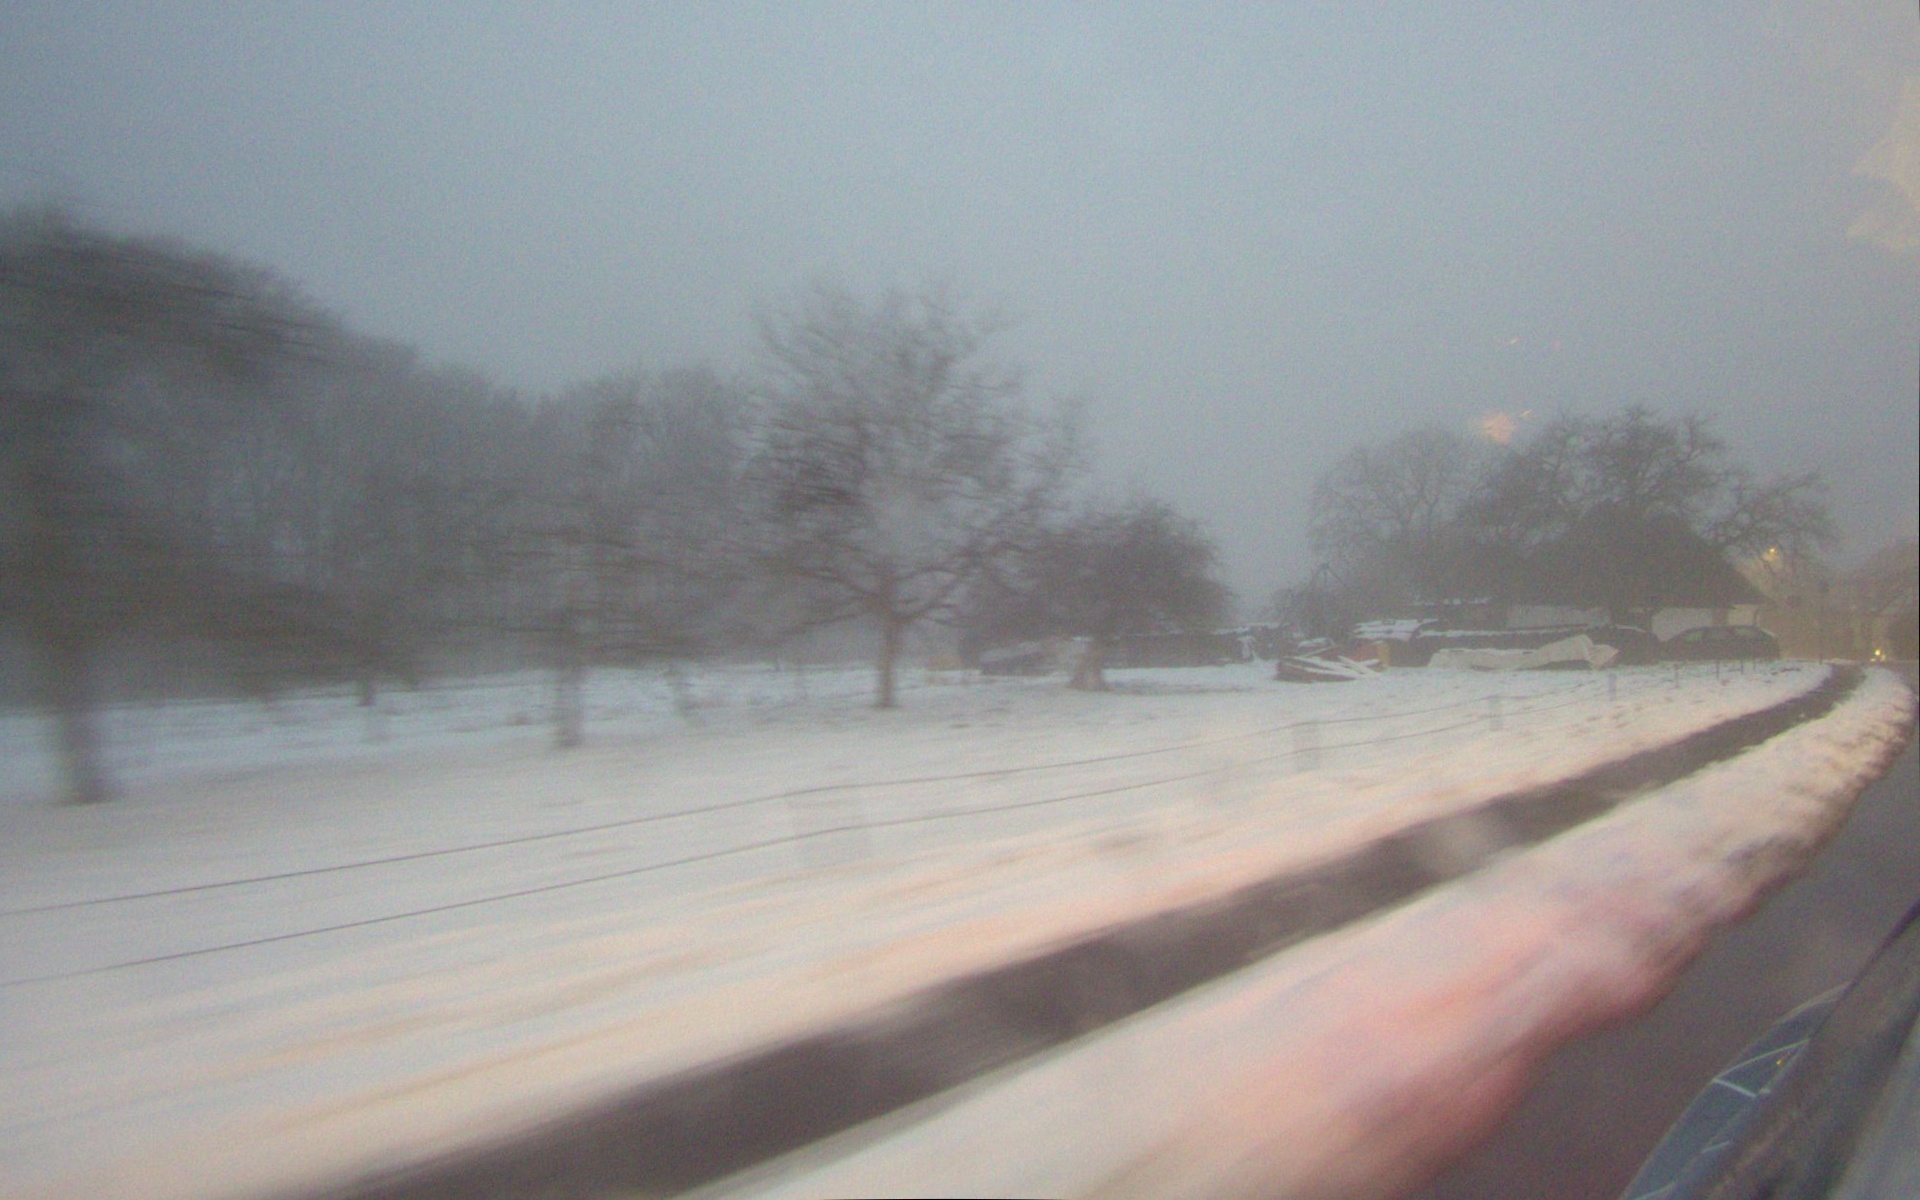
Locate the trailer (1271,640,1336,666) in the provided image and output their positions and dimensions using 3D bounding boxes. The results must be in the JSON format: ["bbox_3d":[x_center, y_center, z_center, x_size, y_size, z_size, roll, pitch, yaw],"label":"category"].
[{"bbox_3d":[14.546,2.207,42.786,1.835,0.958,3.620,2,-1,32],"label":"trailer"}]

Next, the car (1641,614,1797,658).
[{"bbox_3d":[28.323,1.384,37.836,4.445,1.400,2.004,-6,-5,42],"label":"car"}]

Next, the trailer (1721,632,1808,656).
[{"bbox_3d":[37.940,2.063,47.812,1.525,0.958,3.985,2,-1,11],"label":"trailer"}]

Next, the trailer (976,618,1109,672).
[{"bbox_3d":[3.165,1.748,39.219,4.729,1.968,2.193,-2,-3,38],"label":"trailer"}]
